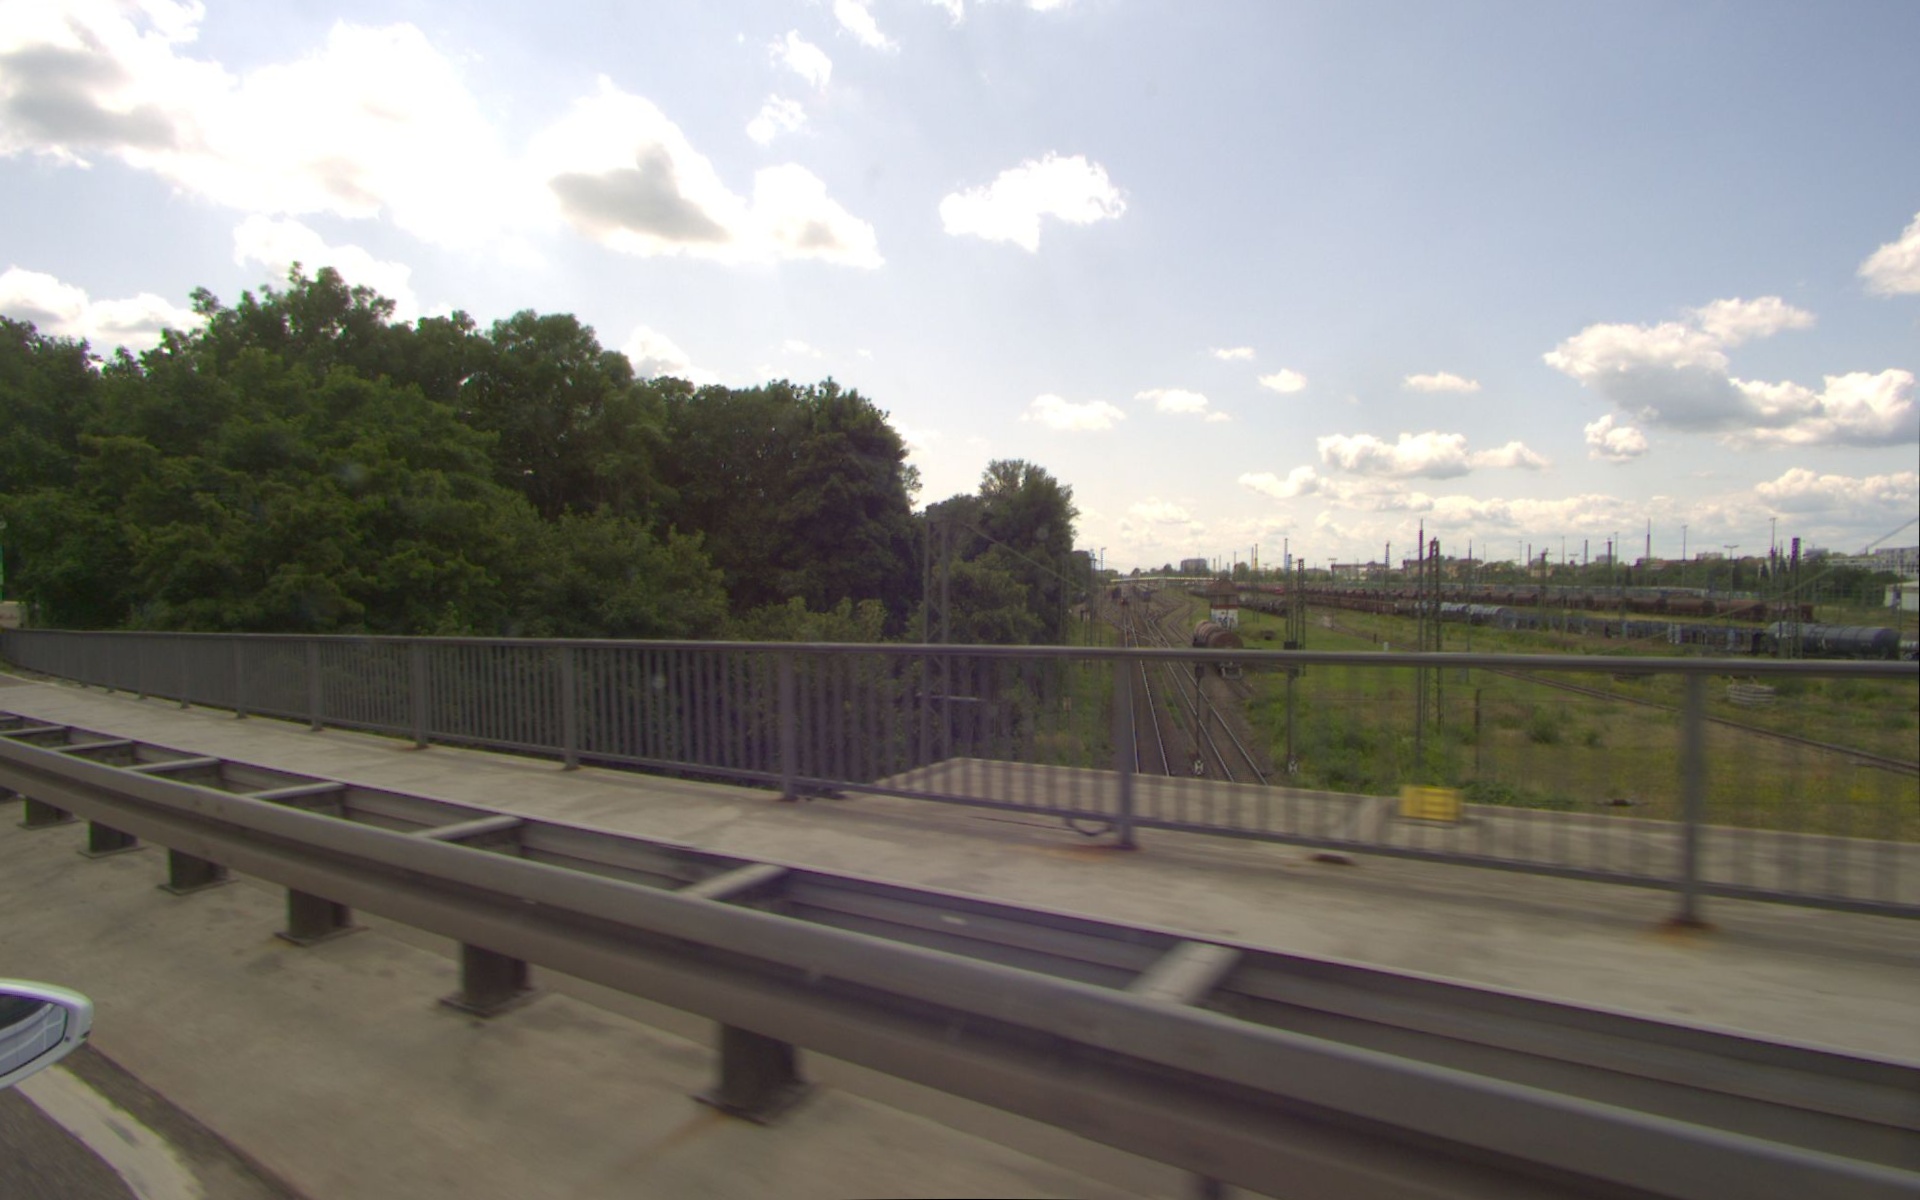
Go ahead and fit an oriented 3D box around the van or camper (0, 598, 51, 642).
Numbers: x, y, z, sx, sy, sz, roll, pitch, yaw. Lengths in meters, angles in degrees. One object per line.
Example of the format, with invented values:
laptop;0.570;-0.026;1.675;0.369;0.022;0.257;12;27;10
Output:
van or camper;-57.881;1.195;61.524;1.970;2.624;4.071;1;-1;-28

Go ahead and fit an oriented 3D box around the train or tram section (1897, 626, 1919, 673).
train or tram section;90.942;4.662;87.880;3.151;4.208;15.960;-3;0;4

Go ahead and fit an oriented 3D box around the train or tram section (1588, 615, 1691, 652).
train or tram section;91.906;4.377;136.032;3.150;4.208;15.962;-3;0;0

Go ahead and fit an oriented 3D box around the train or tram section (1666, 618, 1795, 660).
train or tram section;91.794;4.513;119.956;3.150;4.208;15.962;-3;0;0

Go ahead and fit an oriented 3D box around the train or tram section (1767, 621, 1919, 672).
train or tram section;91.672;4.625;103.994;3.150;4.208;15.962;-3;0;1
